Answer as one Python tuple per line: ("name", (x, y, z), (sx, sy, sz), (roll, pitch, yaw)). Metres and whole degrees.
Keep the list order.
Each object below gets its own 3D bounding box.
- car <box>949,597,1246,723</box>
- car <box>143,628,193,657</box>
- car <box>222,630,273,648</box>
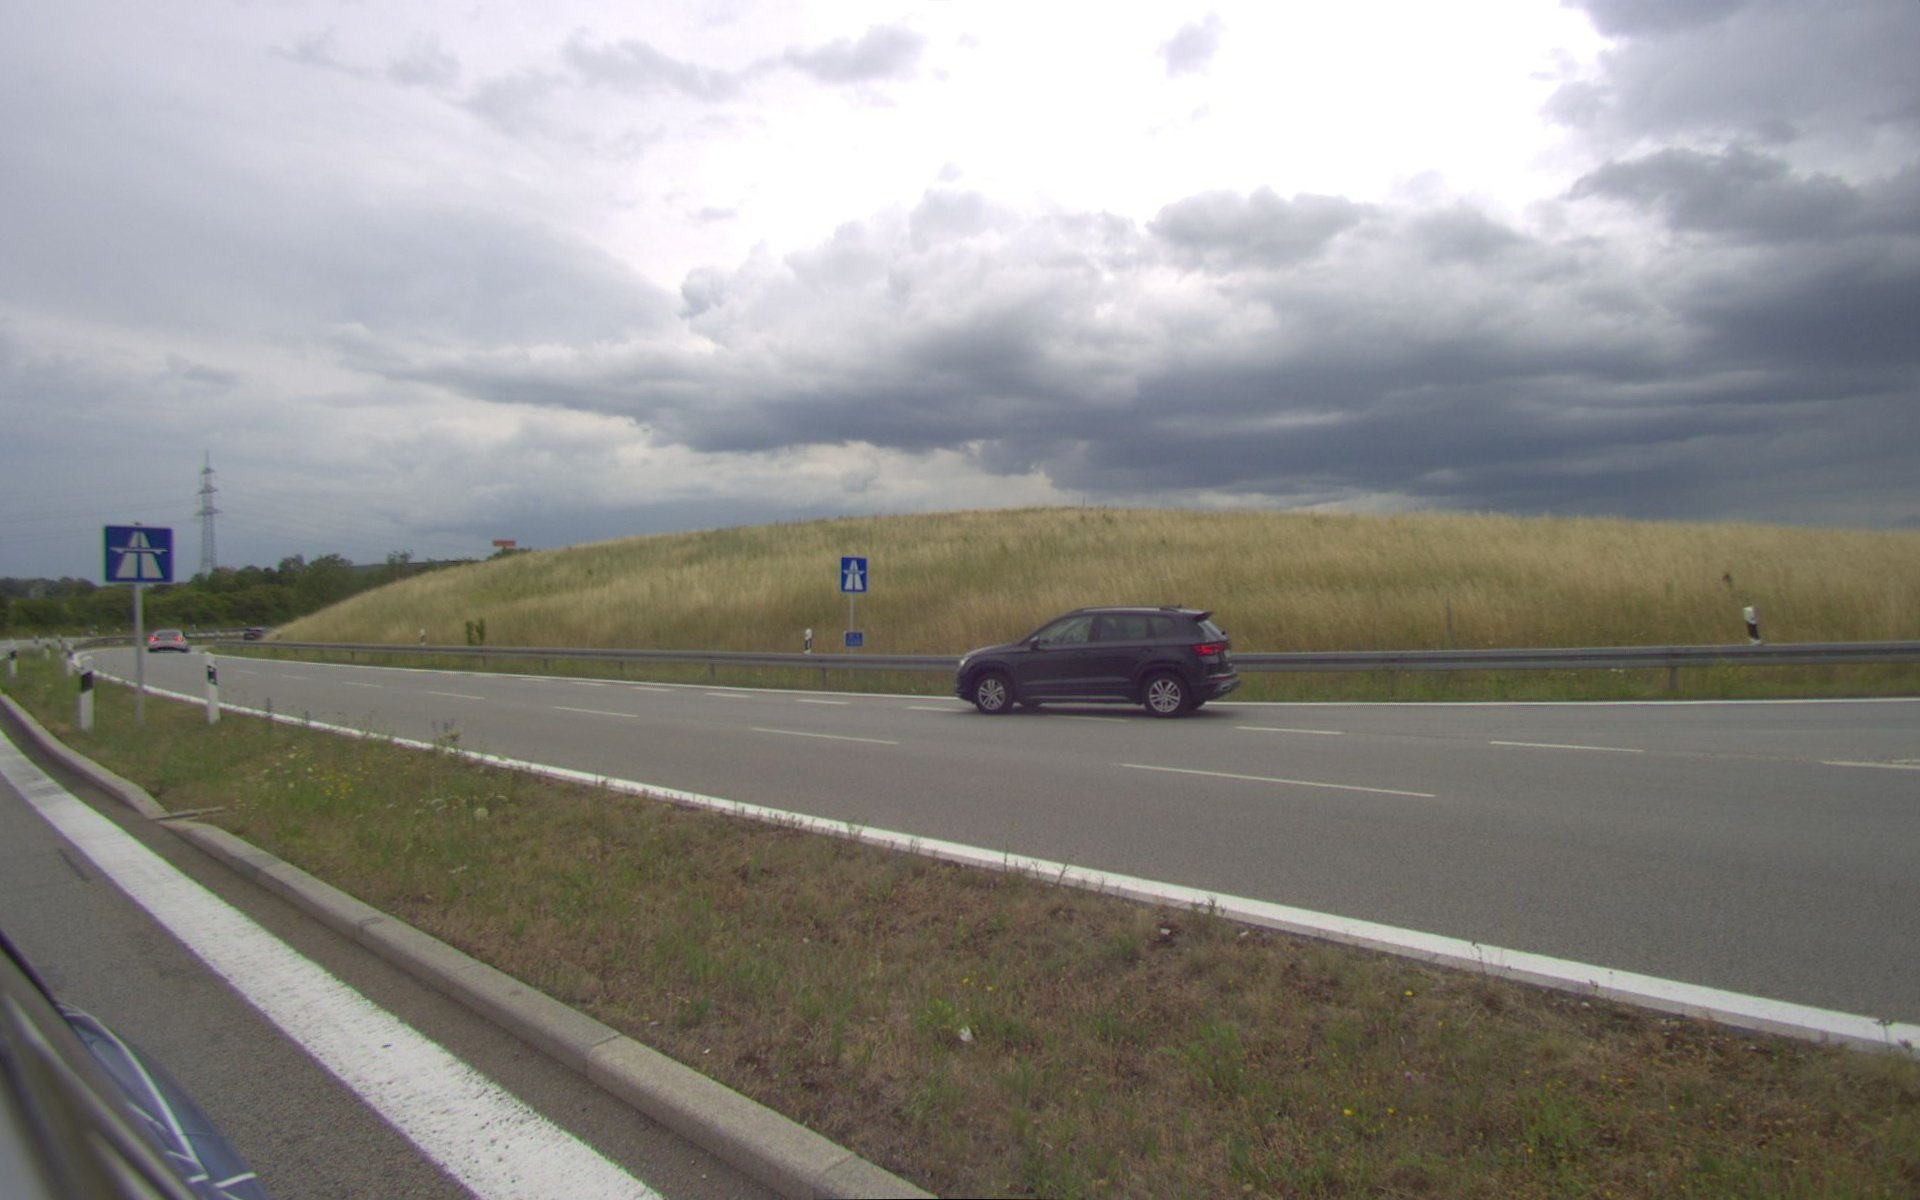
("car", (2.100, 0.828, 15.316), (4.087, 1.696, 1.985), (-1, 0, 23))
("car", (-49.907, 2.643, 63.826), (1.966, 1.696, 4.126), (-1, 0, -31))
("car", (-58.740, 3.180, 83.502), (1.818, 1.338, 3.551), (-1, 0, -4))
